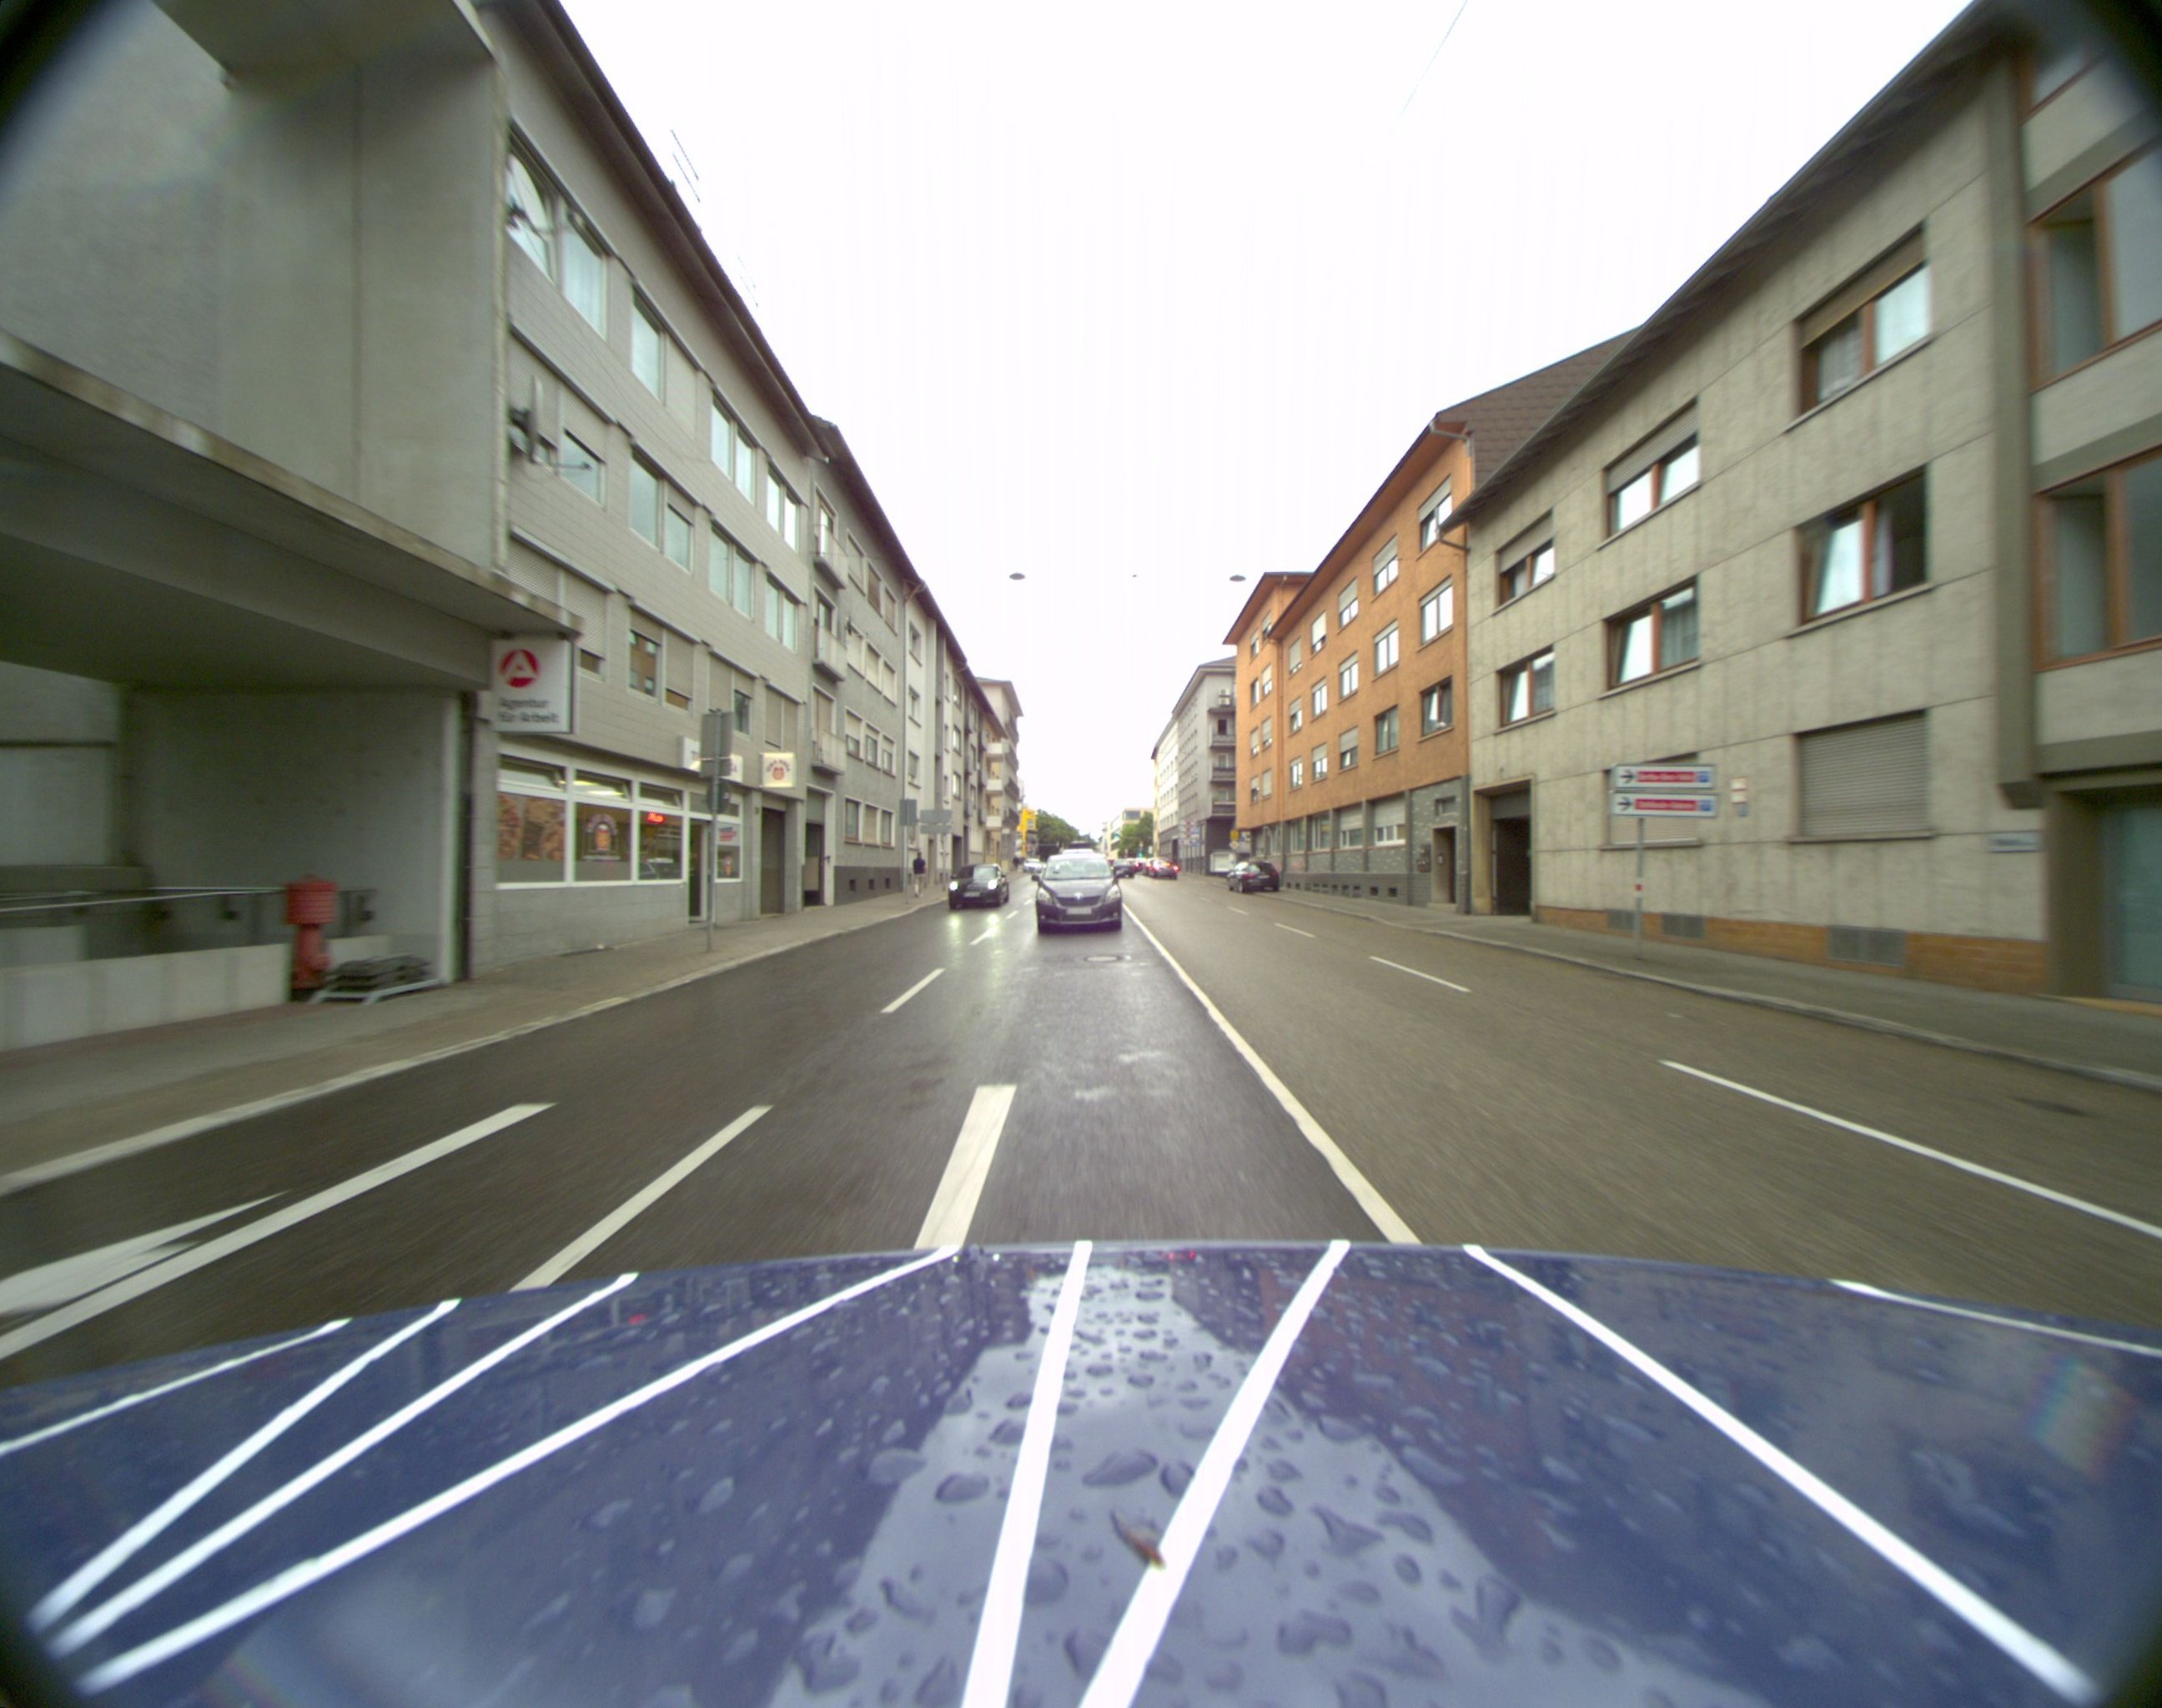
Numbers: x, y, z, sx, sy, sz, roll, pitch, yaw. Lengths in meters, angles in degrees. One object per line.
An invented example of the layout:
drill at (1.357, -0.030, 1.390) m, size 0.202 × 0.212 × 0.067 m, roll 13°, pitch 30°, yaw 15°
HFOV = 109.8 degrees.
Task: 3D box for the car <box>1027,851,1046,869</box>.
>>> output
car at (-4.676, 0.622, 79.013) m, size 1.856 × 1.663 × 4.215 m, roll -3°, pitch 1°, yaw -4°

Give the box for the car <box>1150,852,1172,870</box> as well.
car at (8.271, 0.694, 78.829) m, size 1.856 × 1.712 × 4.217 m, roll -3°, pitch 1°, yaw 1°

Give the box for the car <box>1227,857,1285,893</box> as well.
car at (8.343, 0.942, 36.538) m, size 1.799 × 1.466 × 4.217 m, roll -3°, pitch 1°, yaw 1°

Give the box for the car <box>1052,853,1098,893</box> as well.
car at (-0.220, 0.783, 33.206) m, size 1.856 × 1.524 × 3.792 m, roll -3°, pitch 1°, yaw 1°

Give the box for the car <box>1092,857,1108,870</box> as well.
car at (2.208, 1.054, 88.659) m, size 1.699 × 1.362 × 4.217 m, roll 2°, pitch 1°, yaw 1°

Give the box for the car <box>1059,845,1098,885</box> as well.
car at (-0.088, 0.510, 39.713) m, size 1.856 × 1.882 × 4.217 m, roll -3°, pitch 1°, yaw 1°

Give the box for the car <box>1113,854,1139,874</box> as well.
car at (3.356, 0.730, 57.355) m, size 1.603 × 1.362 × 4.361 m, roll 2°, pitch 1°, yaw -2°

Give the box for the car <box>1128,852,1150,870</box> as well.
car at (5.425, 0.640, 71.628) m, size 1.699 × 1.530 × 4.435 m, roll 4°, pitch 1°, yaw 0°

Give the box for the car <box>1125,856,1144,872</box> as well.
car at (5.935, 1.077, 84.745) m, size 1.856 × 1.651 × 4.610 m, roll -3°, pitch 1°, yaw 1°

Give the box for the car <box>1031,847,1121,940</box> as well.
car at (-0.062, 0.757, 17.007) m, size 1.699 × 1.712 × 4.217 m, roll -3°, pitch 1°, yaw 1°

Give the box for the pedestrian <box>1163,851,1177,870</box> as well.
pedestrian at (9.755, 0.762, 83.591) m, size 1.309 × 2.002 × 1.258 m, roll -3°, pitch 1°, yaw 1°

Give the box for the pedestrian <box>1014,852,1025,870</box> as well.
pedestrian at (-6.178, 0.680, 76.078) m, size 1.119 × 1.741 × 0.961 m, roll 0°, pitch 1°, yaw -5°

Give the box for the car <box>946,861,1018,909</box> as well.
car at (-3.365, 1.030, 26.673) m, size 1.856 × 1.369 × 4.217 m, roll -3°, pitch 1°, yaw 1°

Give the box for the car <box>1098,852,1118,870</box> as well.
car at (2.625, 0.665, 74.465) m, size 1.699 × 1.571 × 4.216 m, roll 2°, pitch 1°, yaw 0°

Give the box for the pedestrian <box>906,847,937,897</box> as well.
pedestrian at (-6.210, 0.692, 29.638) m, size 0.871 × 1.855 × 1.120 m, roll 4°, pitch 1°, yaw 1°

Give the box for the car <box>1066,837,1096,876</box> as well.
car at (0.035, 0.132, 56.752) m, size 2.033 × 2.731 × 4.368 m, roll -3°, pitch 1°, yaw 1°

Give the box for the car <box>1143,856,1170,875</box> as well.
car at (6.294, 0.943, 63.780) m, size 1.727 × 1.464 × 4.373 m, roll 2°, pitch 0°, yaw -1°

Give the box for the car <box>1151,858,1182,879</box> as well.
car at (6.371, 1.090, 57.129) m, size 1.699 × 1.362 × 4.365 m, roll 2°, pitch 1°, yaw -1°
